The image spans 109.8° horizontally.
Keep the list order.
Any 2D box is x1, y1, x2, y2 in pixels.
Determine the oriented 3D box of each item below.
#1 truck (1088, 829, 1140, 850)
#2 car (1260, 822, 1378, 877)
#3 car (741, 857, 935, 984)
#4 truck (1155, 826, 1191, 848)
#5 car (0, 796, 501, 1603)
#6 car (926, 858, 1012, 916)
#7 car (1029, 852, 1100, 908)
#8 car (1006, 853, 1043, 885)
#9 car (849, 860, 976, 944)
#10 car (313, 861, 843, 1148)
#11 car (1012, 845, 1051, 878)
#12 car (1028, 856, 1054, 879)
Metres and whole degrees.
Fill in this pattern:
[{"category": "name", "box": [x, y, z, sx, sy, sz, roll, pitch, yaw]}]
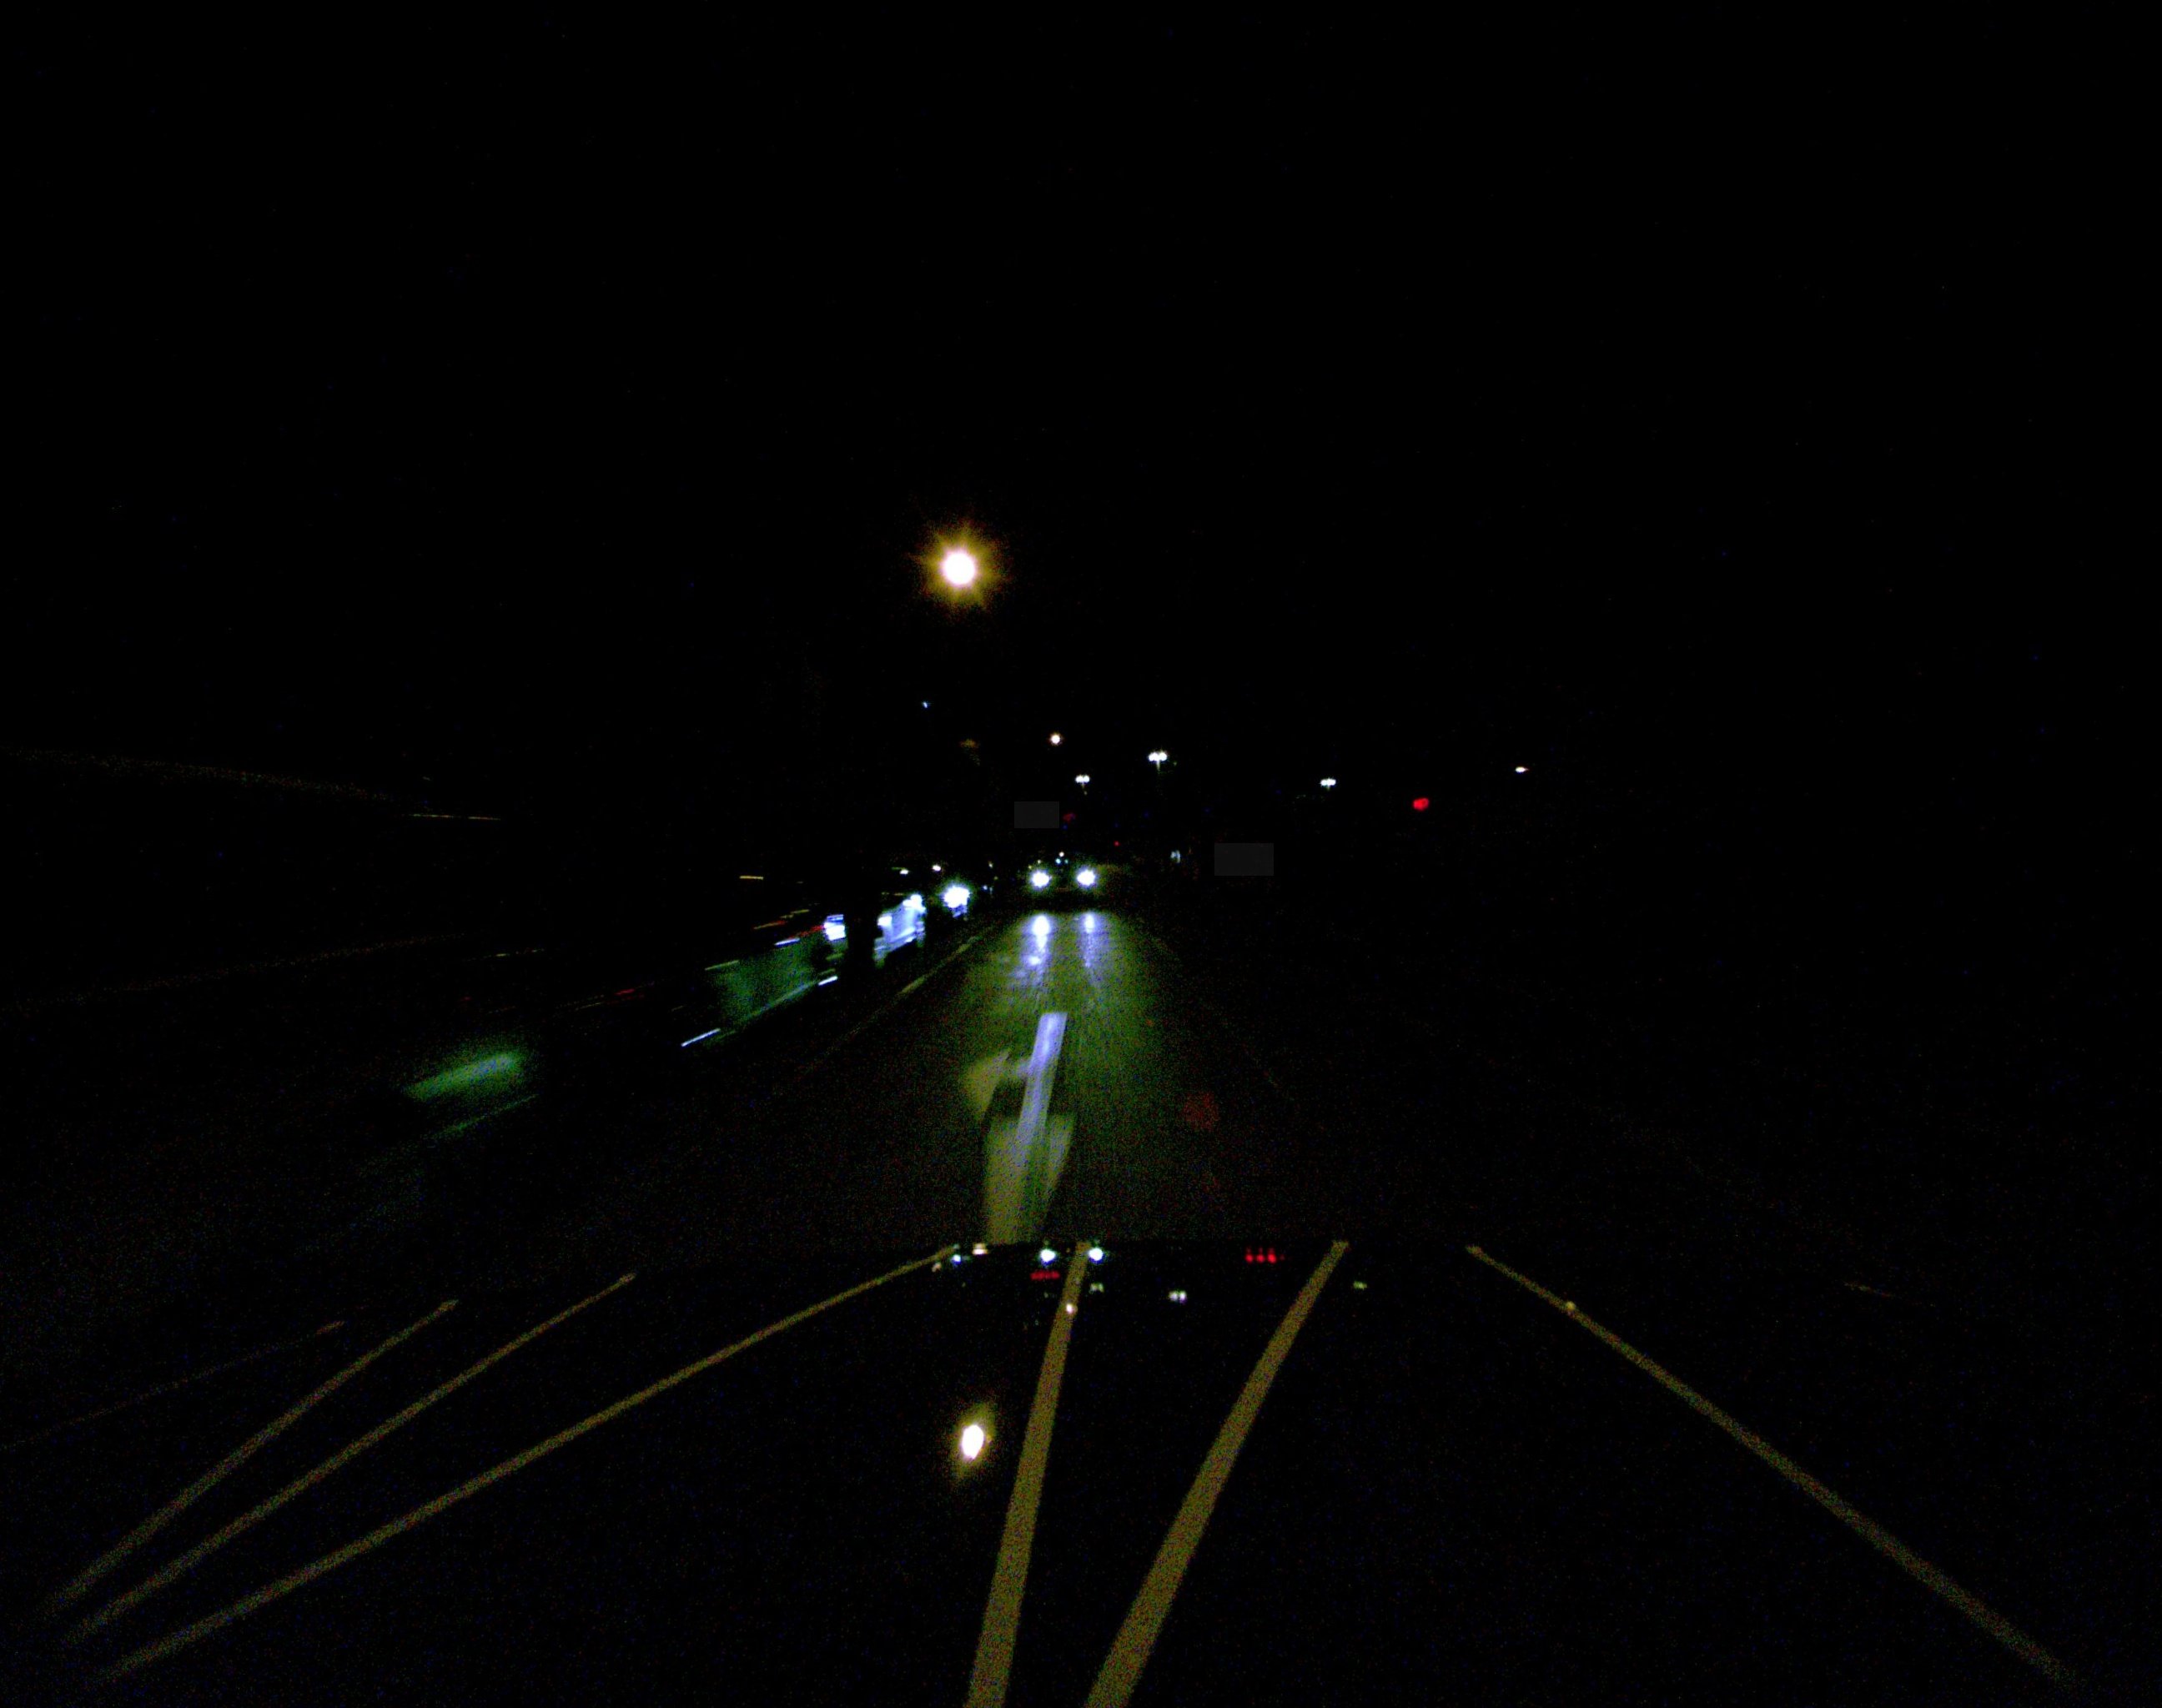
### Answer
[{"category": "truck", "box": [6.108, -2.658, 140.416, 9.340, 3.701, 2.002, -1, 2, 16]}, {"category": "car", "box": [8.730, -0.154, 28.178, 3.993, 1.878, 1.910, -1, 1, 13]}, {"category": "car", "box": [-3.395, 0.844, 11.358, 1.599, 1.458, 3.718, -2, 1, 1]}, {"category": "truck", "box": [16.801, -3.078, 138.154, 6.196, 3.673, 2.403, -1, 2, 13]}, {"category": "car", "box": [-3.399, 0.794, 0.853, 1.805, 1.864, 4.773, 1, 0, 1]}, {"category": "car", "box": [-3.246, 0.919, 22.893, 1.783, 1.418, 4.480, -2, 1, 2]}, {"category": "car", "box": [-0.439, 0.780, 24.635, 1.998, 1.607, 4.000, -1, 1, 3]}, {"category": "car", "box": [-3.112, 0.791, 42.370, 1.824, 1.590, 4.219, 1, 1, -2]}, {"category": "car", "box": [-3.415, 0.915, 16.161, 1.783, 1.418, 3.891, -2, 1, 0]}, {"category": "car", "box": [-3.401, 0.858, 6.171, 1.599, 1.458, 3.891, -2, 1, 1]}, {"category": "car", "box": [-3.056, 0.440, 47.697, 2.077, 1.917, 5.369, 0, 1, 0]}, {"category": "car", "box": [-2.974, 0.979, 56.945, 1.748, 1.557, 4.209, 0, 1, 0]}]
